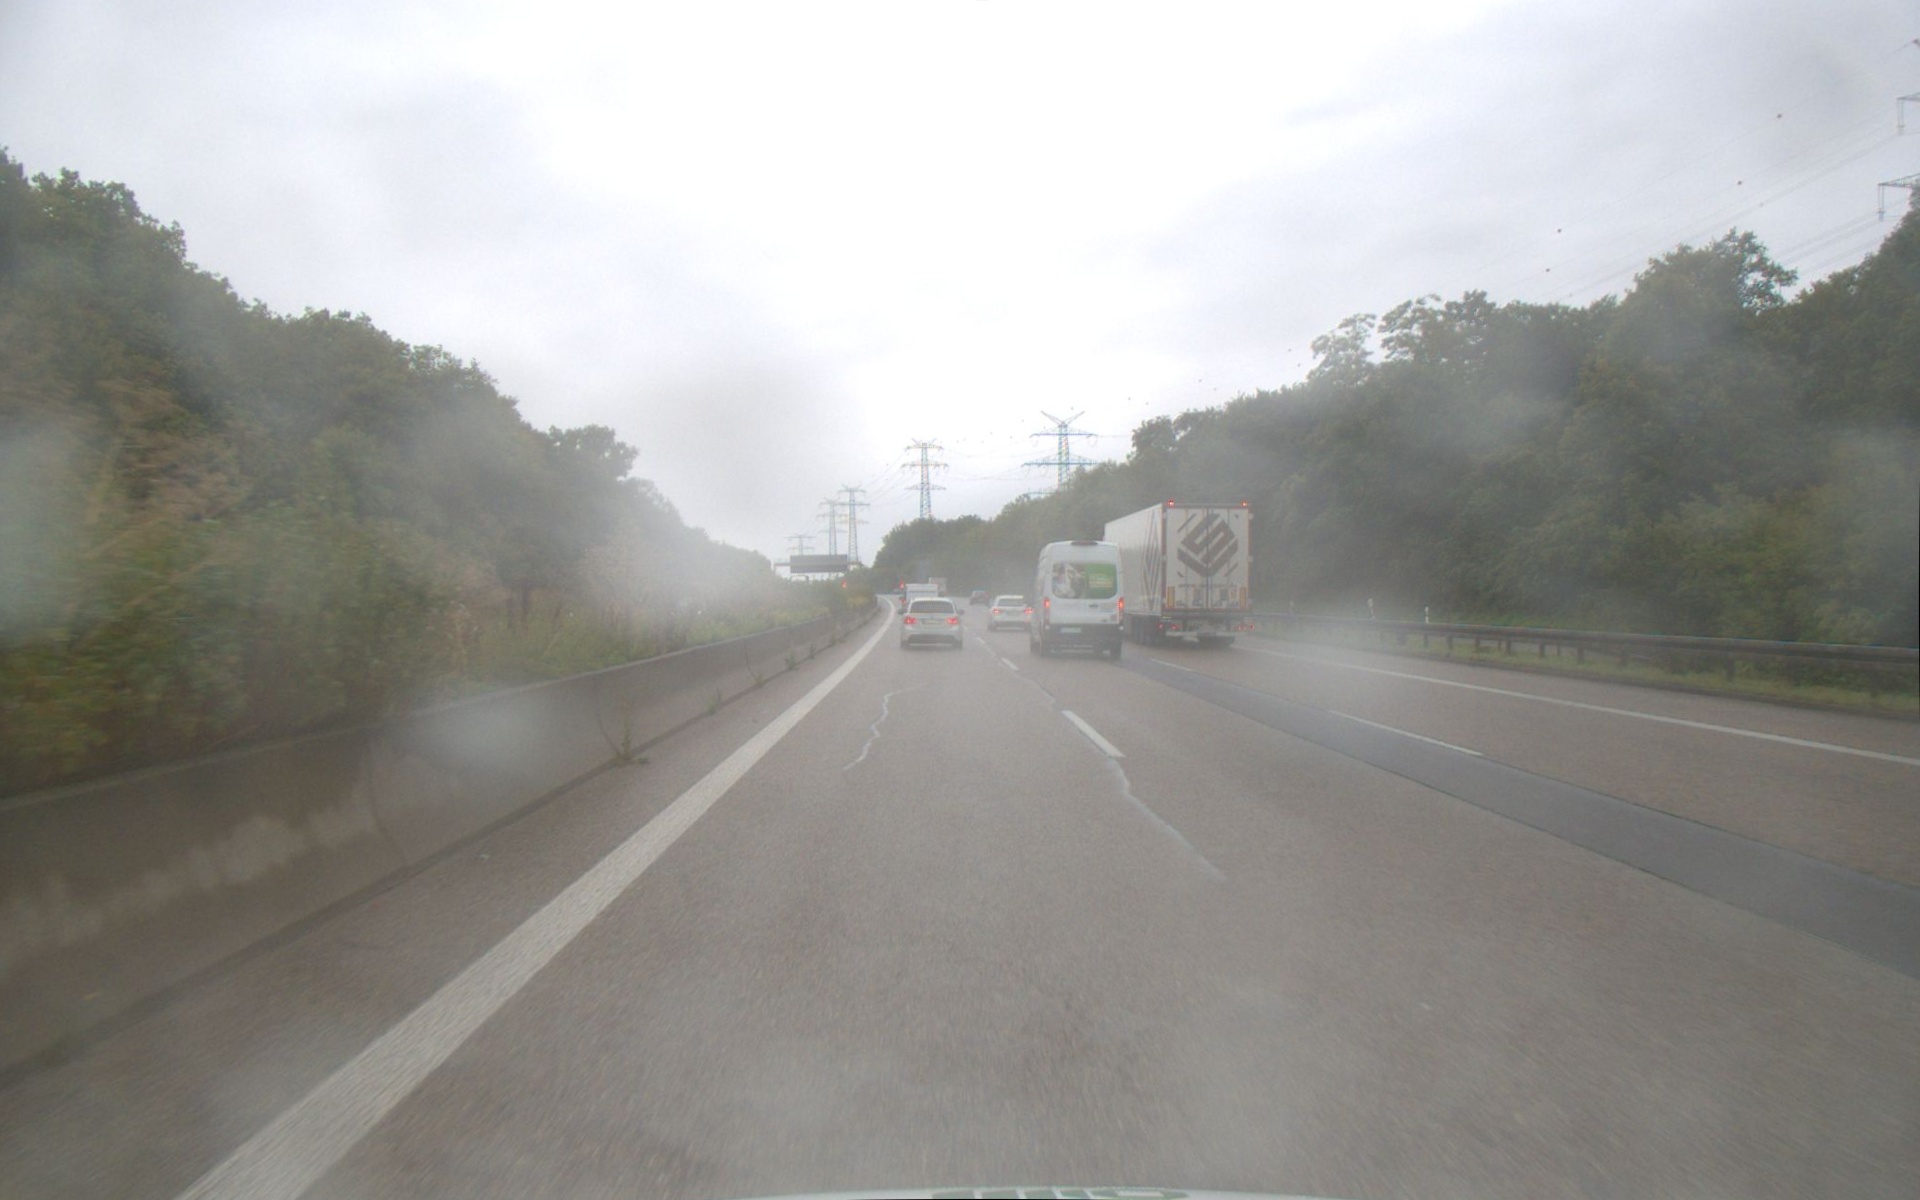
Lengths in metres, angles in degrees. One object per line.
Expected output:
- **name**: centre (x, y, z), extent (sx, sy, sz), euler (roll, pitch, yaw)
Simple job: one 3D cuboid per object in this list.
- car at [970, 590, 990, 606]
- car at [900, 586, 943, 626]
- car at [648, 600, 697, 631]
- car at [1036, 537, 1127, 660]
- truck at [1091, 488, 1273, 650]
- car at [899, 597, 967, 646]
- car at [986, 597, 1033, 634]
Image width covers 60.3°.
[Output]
- **car**: centre (2.054, -0.157, 167.091), extent (1.952, 1.512, 4.000), euler (-3, -1, 1)
- **car**: centre (-1.769, 0.271, 76.928), extent (1.808, 1.803, 4.001), euler (0, 0, 2)
- **car**: centre (-14.246, 0.760, 82.146), extent (1.837, 1.478, 3.999), euler (-1, 0, -2)
- **car**: centre (2.964, -0.046, 41.080), extent (1.953, 2.914, 4.000), euler (0, 0, 0)
- **truck**: centre (6.582, -0.810, 51.797), extent (3.530, 4.408, 13.194), euler (-1, 0, -2)
- **car**: centre (-0.778, 0.567, 46.653), extent (1.829, 1.310, 3.999), euler (0, 0, -2)
- **car**: centre (2.037, 0.601, 66.896), extent (1.818, 1.447, 4.001), euler (0, 0, 3)
